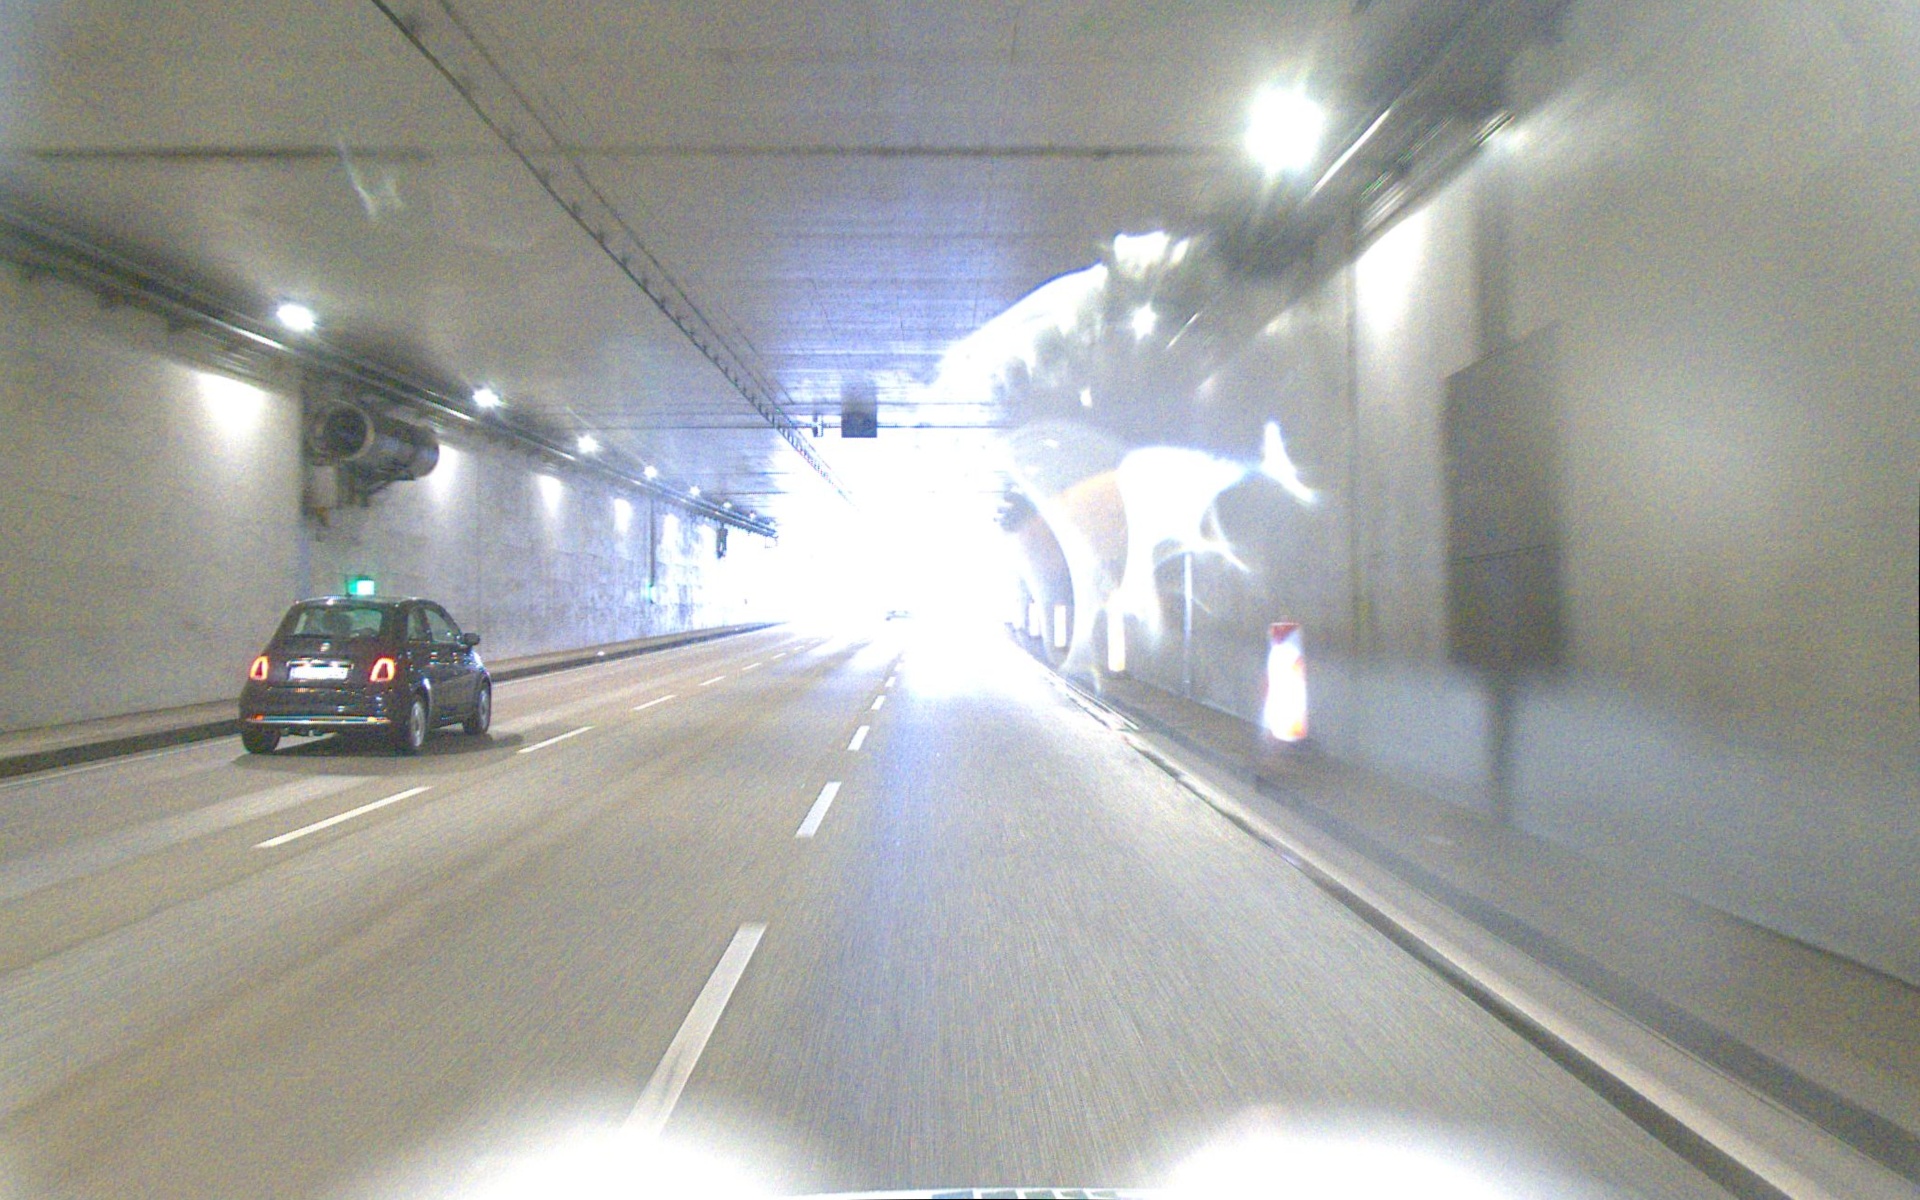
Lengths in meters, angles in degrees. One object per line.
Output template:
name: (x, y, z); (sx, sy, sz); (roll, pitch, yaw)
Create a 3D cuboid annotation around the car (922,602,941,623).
car: (-3.043, 1.331, 176.167); (1.953, 2.049, 3.998); (1, -1, -1)

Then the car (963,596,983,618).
car: (1.300, 0.723, 166.703); (1.953, 2.049, 3.999); (2, -1, -1)

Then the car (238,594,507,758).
car: (-5.798, 0.680, 16.729); (1.580, 1.480, 3.571); (0, 0, -3)

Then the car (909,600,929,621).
car: (-4.169, 1.064, 168.678); (1.953, 2.049, 3.998); (1, -1, -1)

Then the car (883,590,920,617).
car: (-3.406, 0.190, 95.837); (1.954, 1.473, 4.311); (1, 0, -4)
